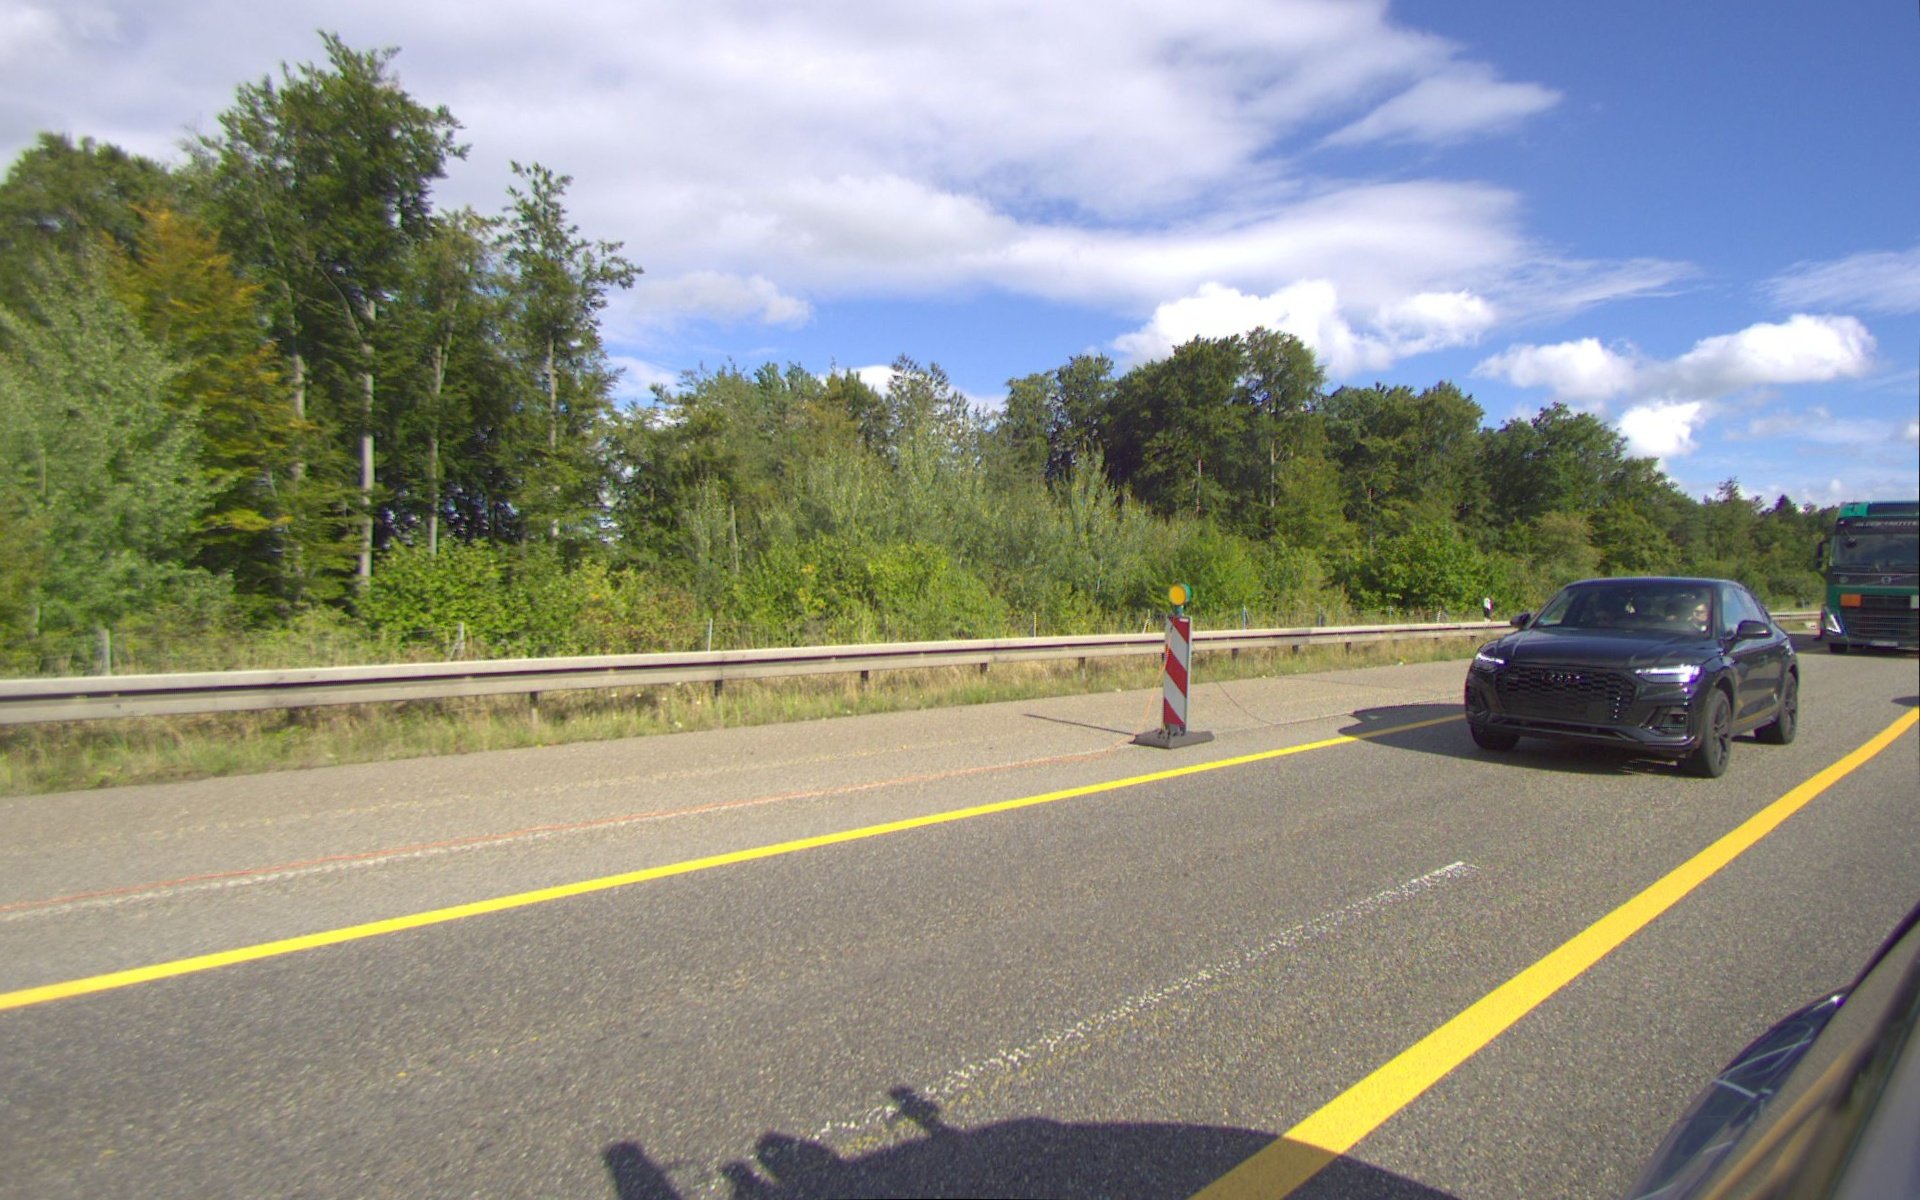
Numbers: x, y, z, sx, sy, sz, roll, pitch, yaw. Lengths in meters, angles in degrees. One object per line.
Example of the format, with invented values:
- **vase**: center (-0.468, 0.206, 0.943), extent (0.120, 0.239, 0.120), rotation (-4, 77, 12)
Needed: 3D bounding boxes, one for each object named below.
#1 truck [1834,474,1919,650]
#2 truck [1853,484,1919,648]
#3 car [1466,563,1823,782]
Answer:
- **truck**: center (24.974, -0.943, 26.290), extent (6.738, 4.150, 2.526), rotation (-1, 1, -41)
- **truck**: center (29.679, -0.860, 30.470), extent (13.962, 4.196, 2.468), rotation (0, 0, -41)
- **car**: center (6.595, 0.504, 9.567), extent (4.219, 1.622, 1.781), rotation (-1, 1, -41)
